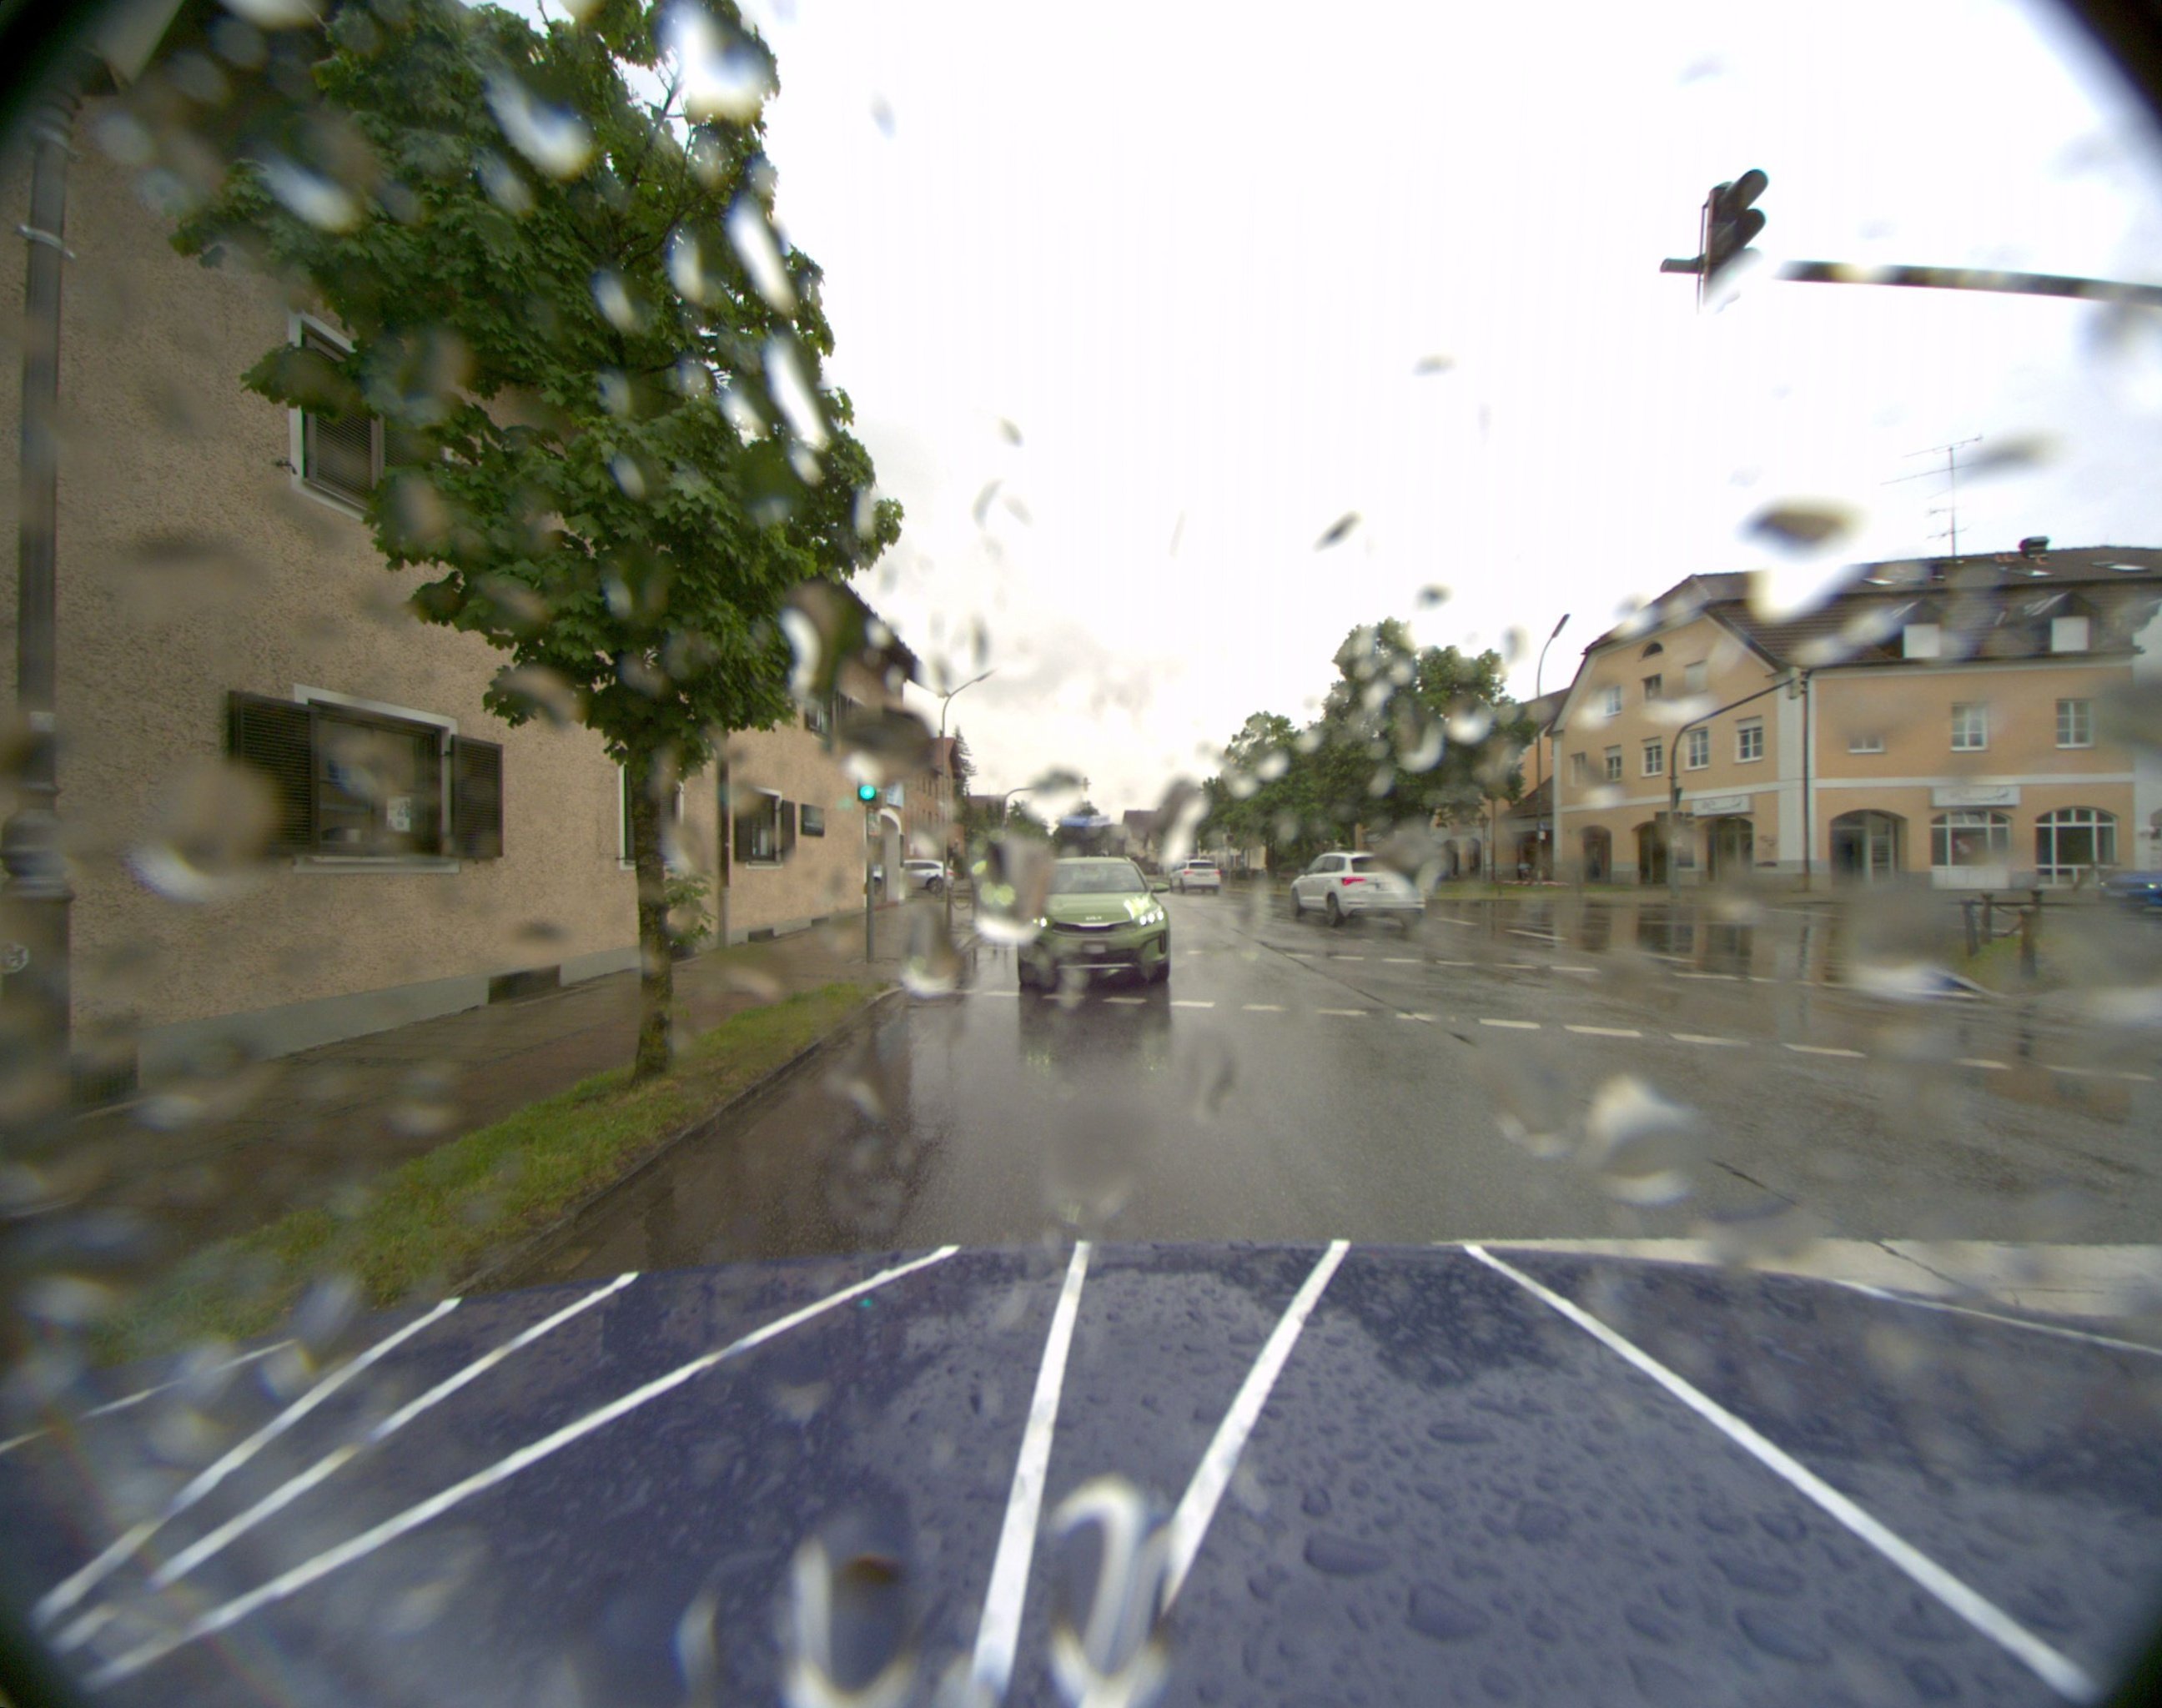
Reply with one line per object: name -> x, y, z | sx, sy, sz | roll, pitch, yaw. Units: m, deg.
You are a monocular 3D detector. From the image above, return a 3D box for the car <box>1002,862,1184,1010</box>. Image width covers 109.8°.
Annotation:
car -> 0.154, 0.887, 10.060 | 1.872, 1.504, 4.105 | -2, -1, 1

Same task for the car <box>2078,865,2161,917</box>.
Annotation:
car -> 27.176, 0.851, 17.902 | 4.352, 1.178, 1.691 | -1, 0, 15

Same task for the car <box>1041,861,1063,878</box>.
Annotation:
car -> -2.751, 1.496, 73.129 | 1.839, 1.508, 4.669 | 1, 0, 1

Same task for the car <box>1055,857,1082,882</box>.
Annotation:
car -> -0.747, 0.975, 48.860 | 1.637, 1.508, 4.000 | 1, 0, 1

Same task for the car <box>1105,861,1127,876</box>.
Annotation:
car -> 3.604, 1.484, 78.011 | 1.921, 1.524, 3.898 | 0, 0, -2

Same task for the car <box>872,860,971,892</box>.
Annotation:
car -> -7.682, 1.038, 36.761 | 4.612, 1.489, 1.734 | 0, 0, -12

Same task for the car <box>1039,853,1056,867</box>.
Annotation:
car -> -4.871, 0.808, 109.642 | 2.218, 1.977, 4.952 | 1, 0, -5

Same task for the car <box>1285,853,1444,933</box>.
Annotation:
car -> 6.088, 0.761, 16.882 | 1.932, 1.557, 4.125 | 0, 0, -1

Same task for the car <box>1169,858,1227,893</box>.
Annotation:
car -> 5.531, 1.004, 36.550 | 1.972, 1.553, 4.150 | 0, 0, -3
